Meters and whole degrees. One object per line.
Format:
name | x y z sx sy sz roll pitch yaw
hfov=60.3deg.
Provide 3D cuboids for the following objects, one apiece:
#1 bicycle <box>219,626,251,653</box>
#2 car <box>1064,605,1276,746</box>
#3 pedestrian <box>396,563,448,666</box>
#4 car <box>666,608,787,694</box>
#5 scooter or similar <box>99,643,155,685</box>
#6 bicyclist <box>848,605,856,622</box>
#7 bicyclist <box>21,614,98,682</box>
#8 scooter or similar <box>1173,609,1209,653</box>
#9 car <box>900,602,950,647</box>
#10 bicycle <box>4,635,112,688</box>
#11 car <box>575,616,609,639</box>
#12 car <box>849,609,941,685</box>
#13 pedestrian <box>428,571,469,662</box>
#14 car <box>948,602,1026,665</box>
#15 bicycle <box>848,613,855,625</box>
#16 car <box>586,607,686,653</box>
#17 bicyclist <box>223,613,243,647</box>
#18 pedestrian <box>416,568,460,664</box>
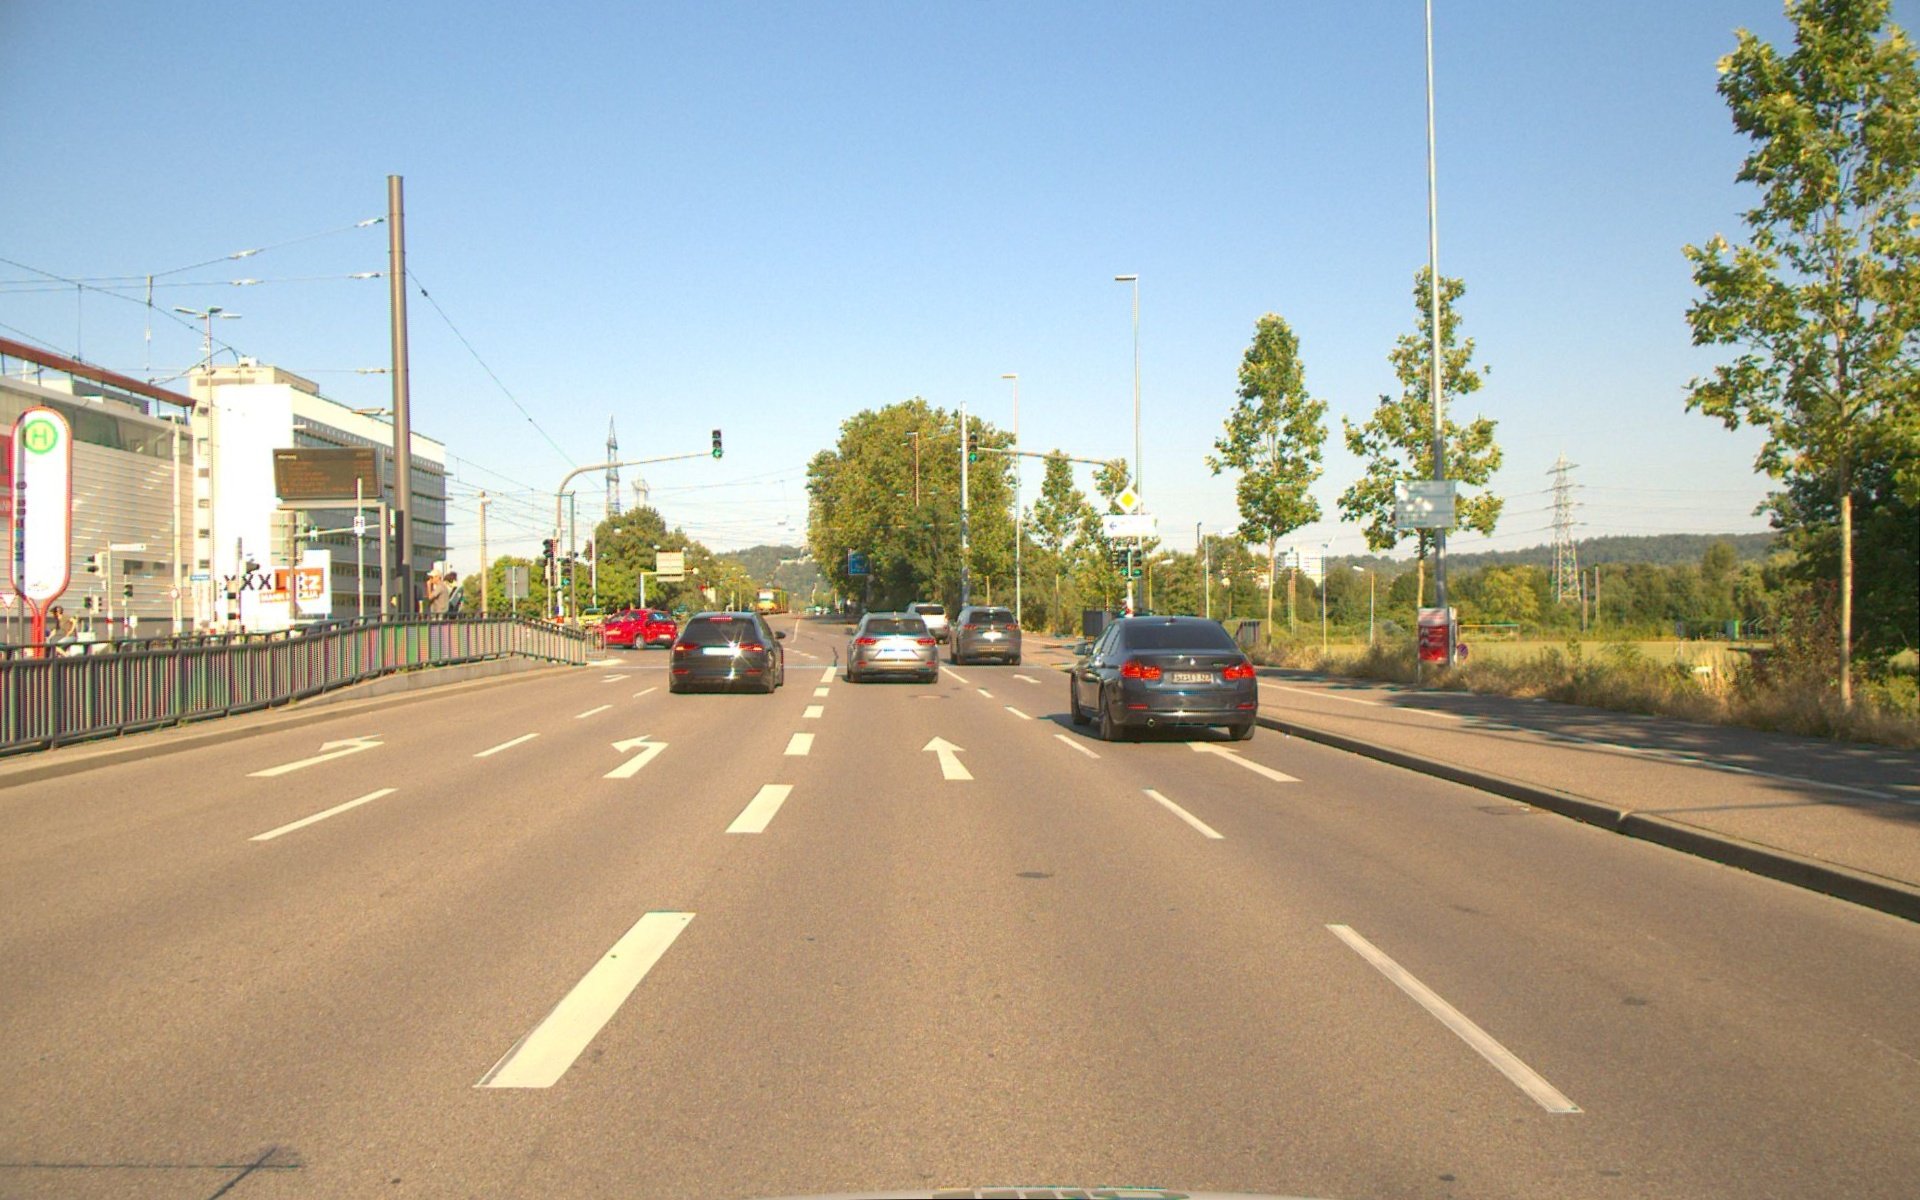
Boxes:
bicycle | -33.419 1.795 76.226 0.575 1.188 1.992 0 0 0
car | 2.441 0.835 20.385 1.828 1.493 4.584 -1 0 -3
pedestrian | -9.611 0.264 29.546 0.692 1.806 0.535 2 -1 0
car | -4.237 0.899 30.554 1.877 1.483 4.088 0 -1 -3
scooter or similar | -21.452 1.641 42.591 0.774 1.033 1.061 -3 -2 39
bicyclist | -10.000 1.229 152.925 0.672 1.535 0.890 0 0 -5
bicyclist | -22.509 1.195 41.362 0.807 1.645 1.479 -3 -2 39
scooter or similar | 6.656 0.898 47.733 0.515 1.252 1.260 -1 -1 -17
car | -1.509 1.004 69.944 1.846 1.827 3.996 1 0 -5
bicycle | -22.522 1.530 41.321 0.701 1.239 2.268 -3 -2 39
car | -26.793 1.984 120.523 1.748 1.473 4.105 -2 0 -4
car | -1.449 0.959 35.520 1.829 1.493 4.662 1 0 -4
pedestrian | -9.642 0.317 31.193 0.523 1.686 0.750 1 -1 -2
car | 0.721 0.916 47.409 1.808 1.690 4.435 0 0 -5
bicycle | -10.012 1.760 153.005 0.610 1.140 1.811 -2 0 -5
car | -12.226 1.117 62.316 3.514 1.485 1.764 -4 -1 37
bicyclist | -33.417 1.354 75.992 0.575 1.549 0.751 0 0 0
pedestrian | -9.550 0.291 30.256 0.523 1.723 0.760 2 -1 -2
